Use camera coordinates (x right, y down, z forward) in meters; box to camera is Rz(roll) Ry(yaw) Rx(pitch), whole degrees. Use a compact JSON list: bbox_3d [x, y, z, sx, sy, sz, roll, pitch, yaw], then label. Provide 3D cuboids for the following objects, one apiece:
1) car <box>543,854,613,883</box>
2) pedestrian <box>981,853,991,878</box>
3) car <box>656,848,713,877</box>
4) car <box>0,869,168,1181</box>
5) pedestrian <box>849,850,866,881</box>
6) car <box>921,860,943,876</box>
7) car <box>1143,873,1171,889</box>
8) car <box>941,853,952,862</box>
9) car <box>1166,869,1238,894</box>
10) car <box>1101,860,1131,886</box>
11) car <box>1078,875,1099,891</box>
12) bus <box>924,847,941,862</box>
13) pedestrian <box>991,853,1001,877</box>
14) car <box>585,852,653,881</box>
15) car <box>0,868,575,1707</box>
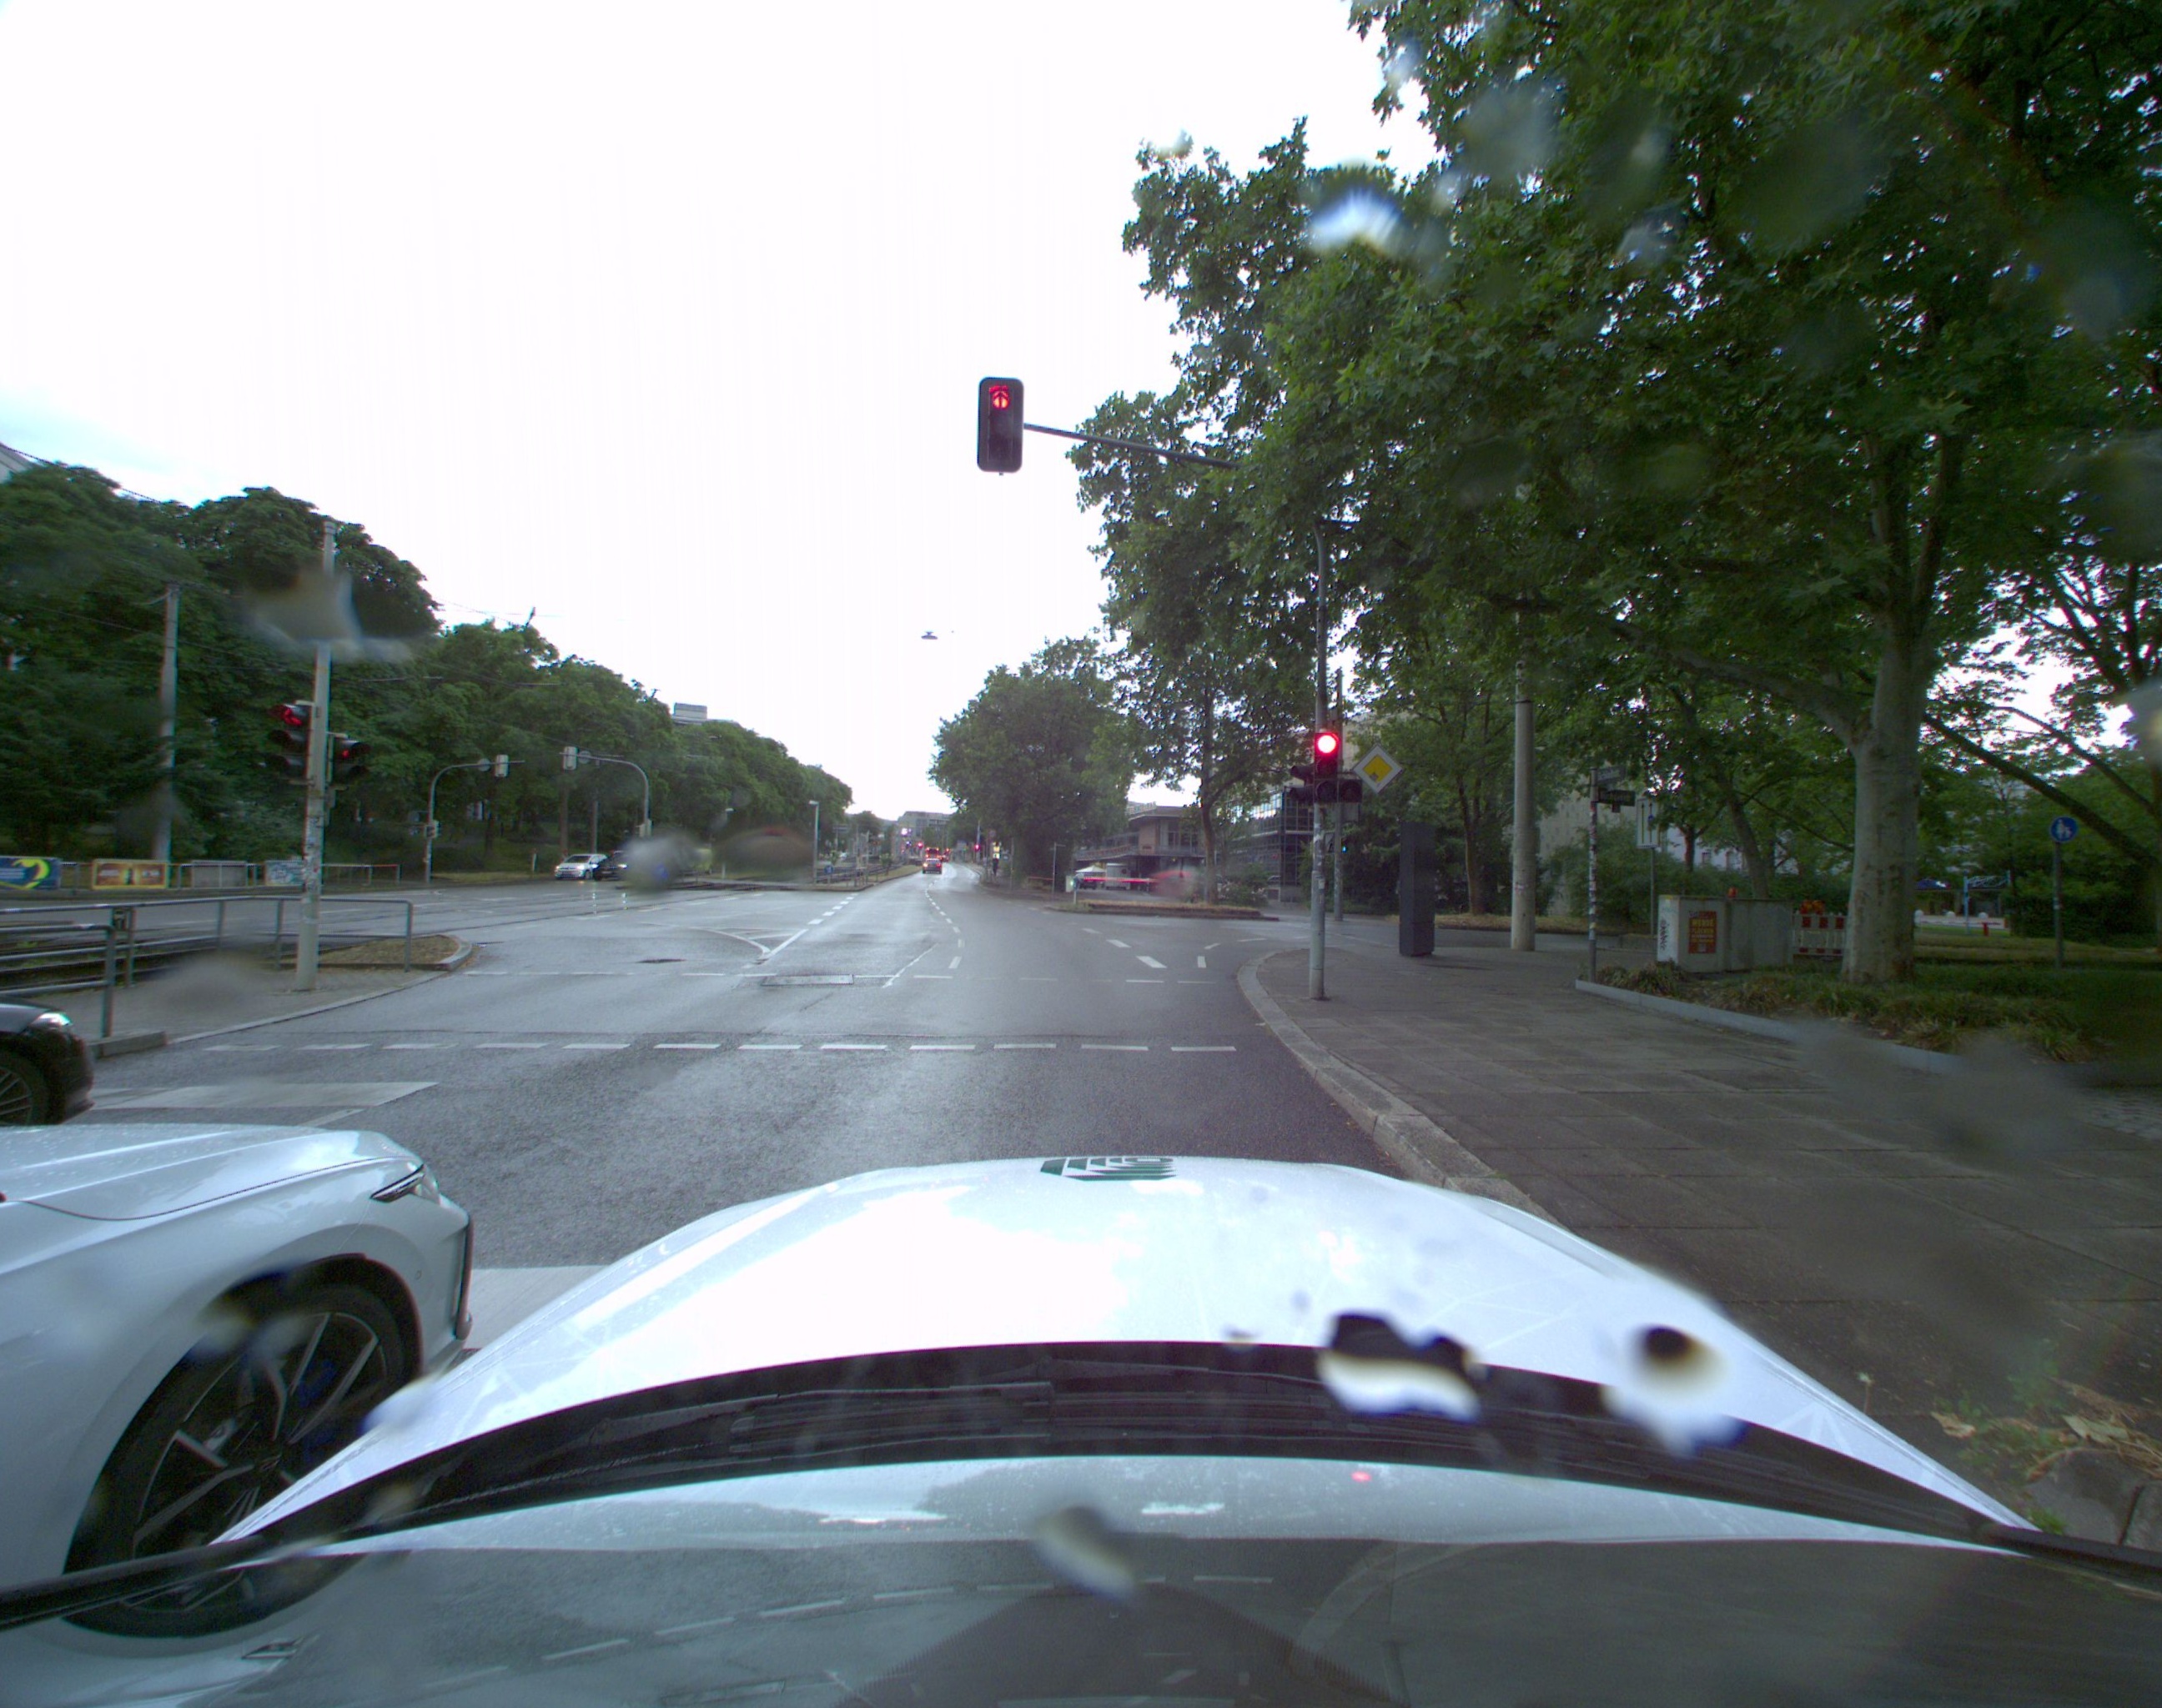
[{"bbox_3d":[-29.010,0.829,47.107,1.917,1.546,3.674,1,-1,-5],"label":"car"},{"bbox_3d":[-7.780,0.918,66.755,0.813,2.014,1.075,0,-1,-6],"label":"pedestrian"},{"bbox_3d":[-26.573,0.562,54.712,1.917,1.851,4.558,1,-1,-5],"label":"car"},{"bbox_3d":[-5.975,0.793,2.235,1.789,1.442,4.477,0,0,2],"label":"car"},{"bbox_3d":[-13.351,0.697,48.674,0.870,1.802,0.864,2,-1,-14],"label":"pedestrian"},{"bbox_3d":[-14.239,1.323,77.936,1.993,1.519,4.336,0,-1,-9],"label":"car"},{"bbox_3d":[8.284,2.906,89.151,2.020,1.551,4.334,2,0,-10],"label":"car"},{"bbox_3d":[-30.127,0.807,182.408,2.364,1.817,5.164,0,-1,-11],"label":"car"},{"bbox_3d":[9.268,2.120,62.132,5.221,1.731,1.860,2,-1,-23],"label":"car"},{"bbox_3d":[3.897,2.069,91.500,2.725,2.695,6.916,2,0,-2],"label":"car"},{"bbox_3d":[0.851,3.064,88.082,2.010,1.551,4.355,2,0,4],"label":"car"},{"bbox_3d":[-32.442,0.107,177.492,3.591,3.171,10.381,0,-1,-11],"label":"bus"},{"bbox_3d":[-7.003,0.892,67.143,0.873,2.014,1.075,0,-1,-6],"label":"pedestrian"},{"bbox_3d":[-25.696,0.707,45.414,1.917,1.546,3.674,1,-1,-5],"label":"car"},{"bbox_3d":[-2.527,0.752,0.281,1.789,1.442,4.477,0,0,2],"label":"car"}]
